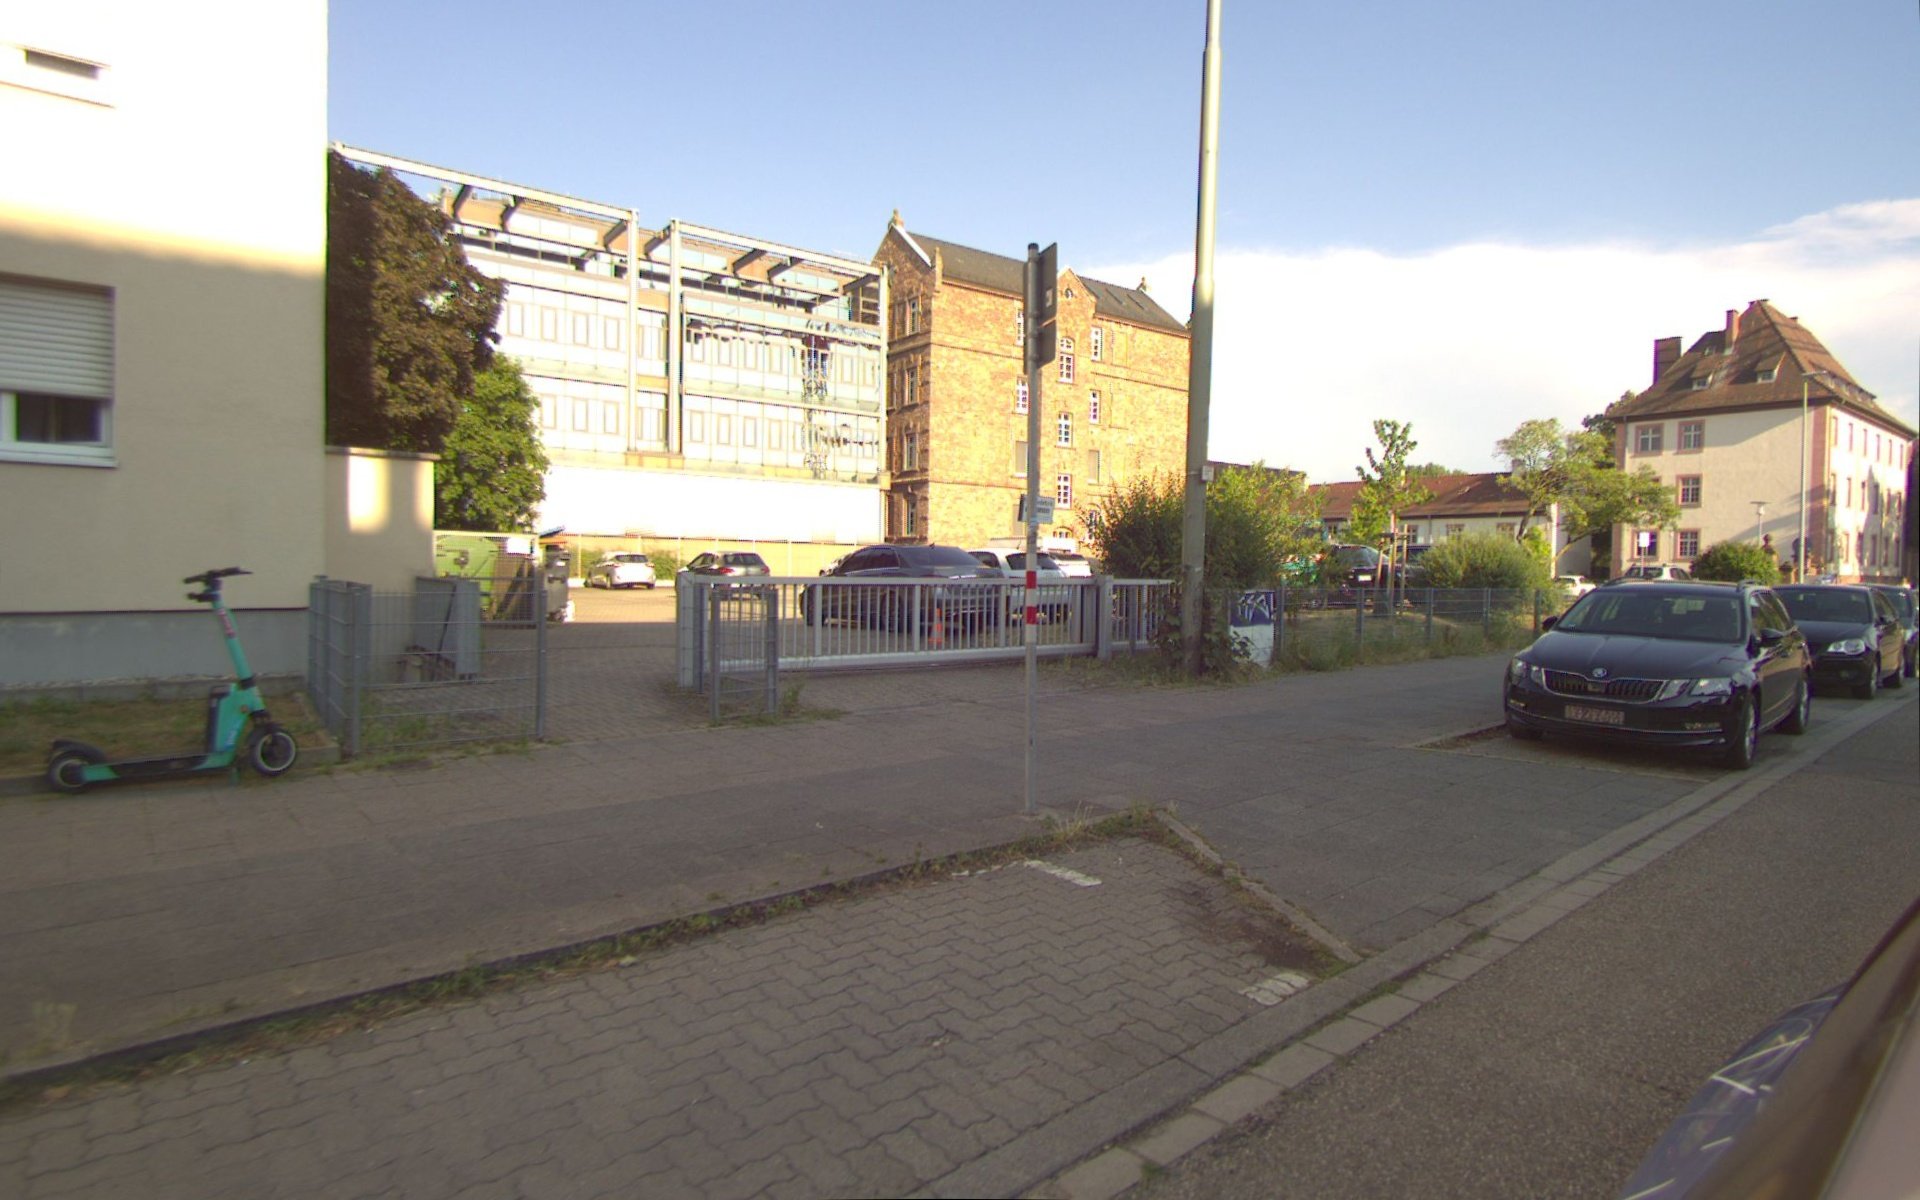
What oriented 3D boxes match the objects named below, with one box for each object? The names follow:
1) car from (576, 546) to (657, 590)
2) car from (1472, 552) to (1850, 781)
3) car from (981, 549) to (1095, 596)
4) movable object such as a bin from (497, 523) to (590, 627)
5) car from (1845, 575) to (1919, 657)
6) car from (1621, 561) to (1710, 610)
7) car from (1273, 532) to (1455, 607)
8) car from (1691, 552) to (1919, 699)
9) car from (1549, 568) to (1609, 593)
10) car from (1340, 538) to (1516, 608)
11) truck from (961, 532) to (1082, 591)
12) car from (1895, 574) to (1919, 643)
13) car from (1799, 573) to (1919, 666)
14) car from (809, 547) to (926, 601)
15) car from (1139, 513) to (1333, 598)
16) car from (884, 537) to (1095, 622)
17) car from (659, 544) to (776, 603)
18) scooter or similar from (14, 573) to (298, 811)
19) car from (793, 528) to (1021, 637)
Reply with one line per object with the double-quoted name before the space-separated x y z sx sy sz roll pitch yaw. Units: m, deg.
"car" -13.590 -1.226 39.890 1.701 1.622 4.488 -1 1 -37
"car" 6.844 0.393 9.632 4.864 1.580 1.889 -2 5 -43
"car" 2.865 -1.004 37.988 1.701 1.622 4.488 -1 1 -37
"movable object such as a bin" -7.396 -0.437 17.915 1.269 1.737 1.583 -1 0 -31
"car" 20.193 0.268 21.018 4.724 1.549 1.906 -2 1 -39
"car" 26.044 -0.553 37.342 3.929 1.683 1.656 -2 1 -39
"car" 10.596 -0.767 26.755 1.964 1.816 3.996 -2 1 -38
"car" 12.344 0.250 14.481 4.499 1.801 1.906 -2 1 -39
"car" 38.908 -1.224 63.599 3.928 1.471 1.998 -2 1 -39
"car" 13.020 -0.717 28.329 1.965 1.816 3.994 -2 1 -40
"truck" 3.025 -1.894 51.541 2.496 2.717 6.440 -1 1 -37
"car" 24.255 0.195 24.467 4.360 1.559 1.747 -2 4 -39
"car" 16.262 0.333 17.902 3.892 1.454 1.653 2 1 -42
"car" -3.104 -0.815 33.303 1.701 1.622 4.488 -1 1 -37
"car" 6.417 -0.980 23.851 1.965 1.816 3.994 -2 1 -40
"car" 0.454 -0.368 19.916 1.701 1.473 4.488 -2 1 -37
"car" -7.297 -0.757 30.164 1.701 1.622 4.488 -1 1 -37
"scooter or similar" -4.500 0.461 5.734 1.219 1.206 0.334 -2 4 -41
"car" -1.057 -0.385 17.392 1.701 1.621 4.490 -1 3 -37
